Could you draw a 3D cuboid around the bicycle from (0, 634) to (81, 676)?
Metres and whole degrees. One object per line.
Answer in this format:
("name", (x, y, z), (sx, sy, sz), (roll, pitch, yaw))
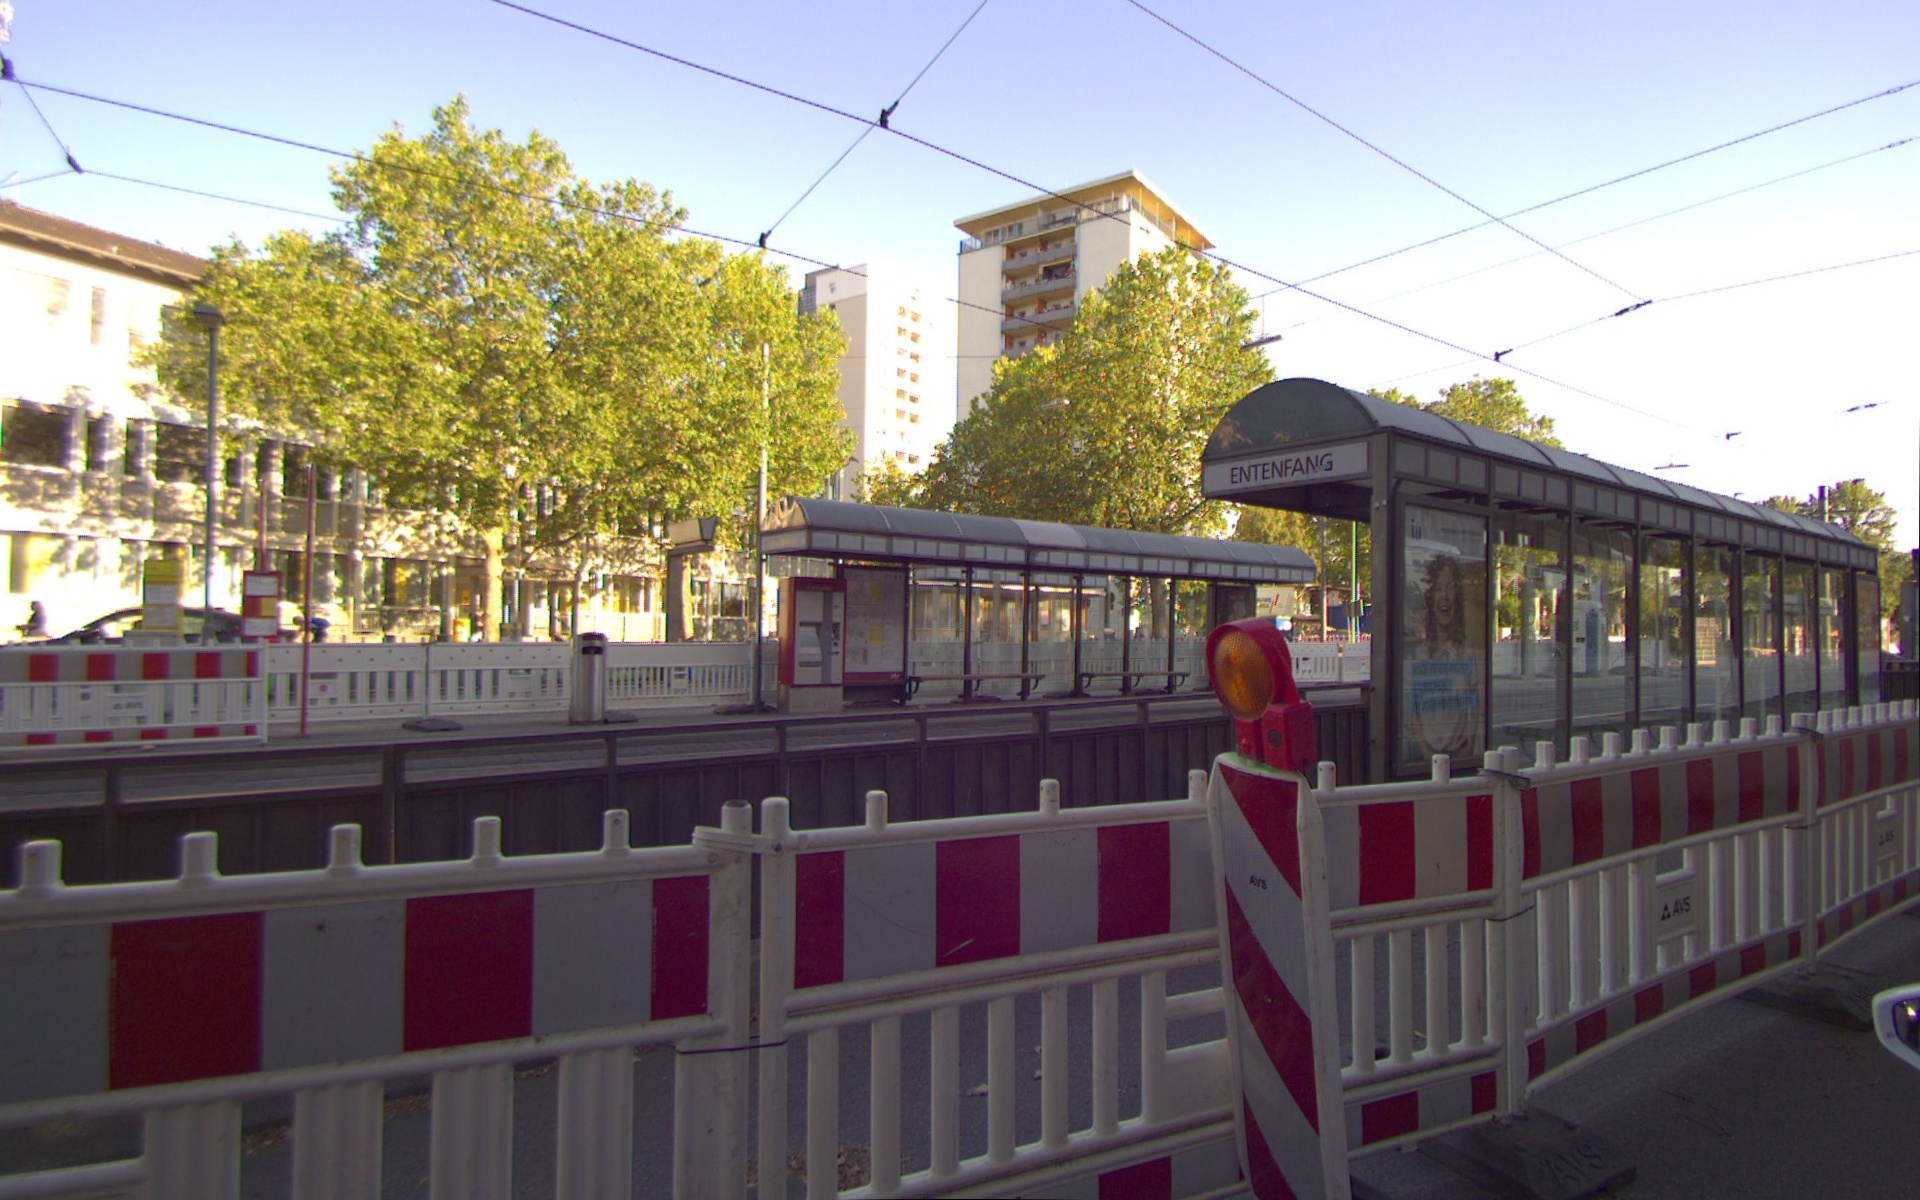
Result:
("bicycle", (-20.351, 1.200, 22.102), (1.451, 0.907, 0.459), (2, -2, -35))

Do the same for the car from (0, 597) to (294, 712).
("car", (-13.786, 0.856, 16.603), (4.544, 1.689, 1.881), (2, 0, -37))

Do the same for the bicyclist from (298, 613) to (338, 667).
("bicyclist", (-15.946, 0.981, 24.956), (0.801, 1.314, 0.459), (2, -1, -35))

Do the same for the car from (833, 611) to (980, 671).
("car", (-1.426, 1.106, 27.376), (3.740, 1.532, 1.646), (2, -2, -38))

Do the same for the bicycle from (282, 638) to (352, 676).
("bicycle", (-15.962, 1.409, 24.945), (1.451, 0.907, 0.459), (2, -2, -35))

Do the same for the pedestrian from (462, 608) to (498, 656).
("pedestrian", (-17.737, 1.170, 37.126), (0.793, 1.751, 0.884), (0, -1, 29))

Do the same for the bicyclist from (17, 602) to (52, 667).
("bicyclist", (-20.356, 0.755, 22.100), (0.460, 1.414, 0.459), (1, -1, -35))
